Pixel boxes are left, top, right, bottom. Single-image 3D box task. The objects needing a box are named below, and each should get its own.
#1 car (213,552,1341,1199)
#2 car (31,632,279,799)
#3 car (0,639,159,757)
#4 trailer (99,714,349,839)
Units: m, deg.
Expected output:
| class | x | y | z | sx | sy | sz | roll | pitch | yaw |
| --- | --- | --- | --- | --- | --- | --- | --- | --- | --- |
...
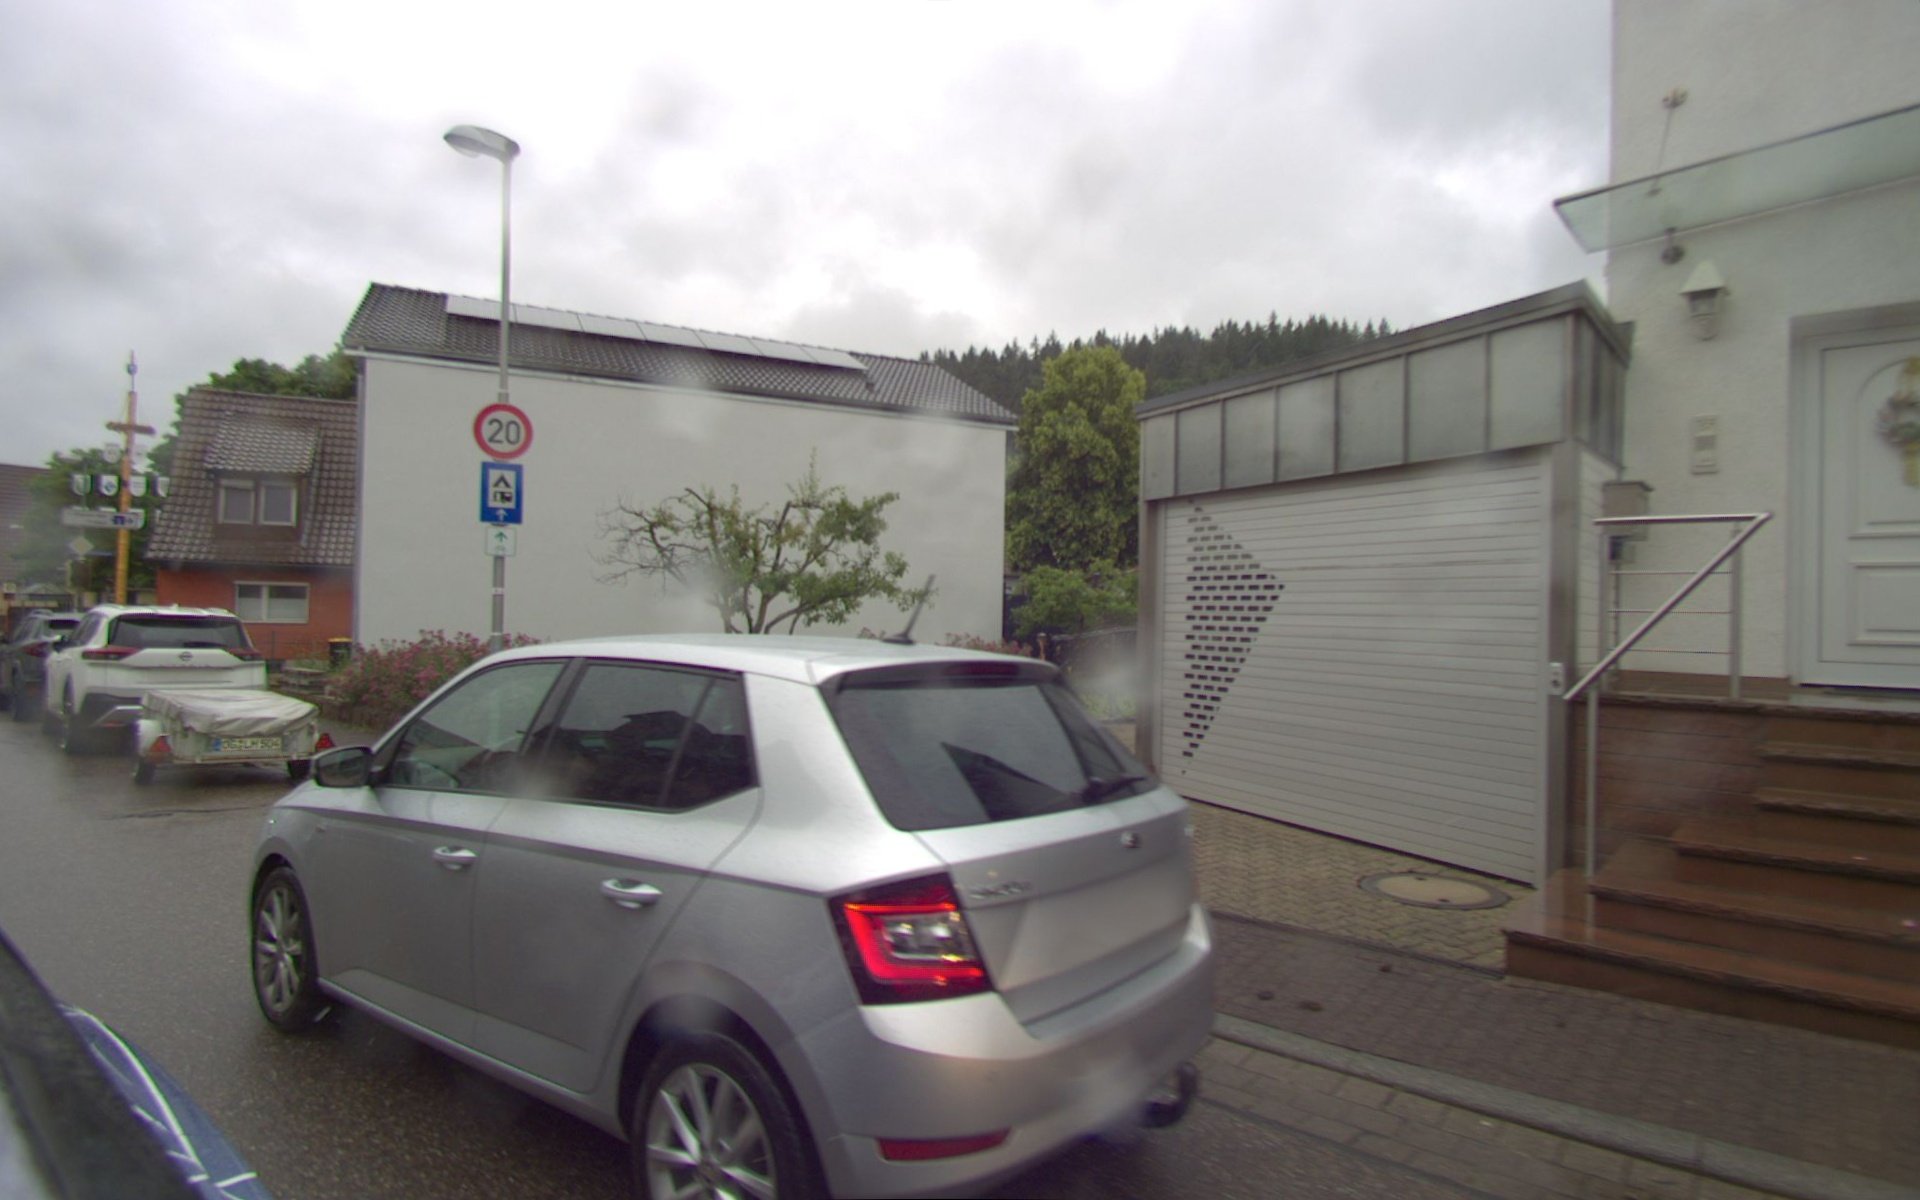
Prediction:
| class | x | y | z | sx | sy | sz | roll | pitch | yaw |
| --- | --- | --- | --- | --- | --- | --- | --- | --- | --- |
| car | -0.885 | 0.794 | 3.345 | 3.711 | 1.493 | 1.564 | -3 | -6 | 38 |
| car | -10.073 | 1.284 | 12.547 | 4.185 | 1.697 | 1.791 | -1 | -4 | 44 |
| car | -14.460 | 1.477 | 16.369 | 4.183 | 1.628 | 1.653 | -1 | -4 | 42 |
| trailer | -7.419 | 1.670 | 10.122 | 3.006 | 0.821 | 1.484 | -1 | -4 | 44 |
